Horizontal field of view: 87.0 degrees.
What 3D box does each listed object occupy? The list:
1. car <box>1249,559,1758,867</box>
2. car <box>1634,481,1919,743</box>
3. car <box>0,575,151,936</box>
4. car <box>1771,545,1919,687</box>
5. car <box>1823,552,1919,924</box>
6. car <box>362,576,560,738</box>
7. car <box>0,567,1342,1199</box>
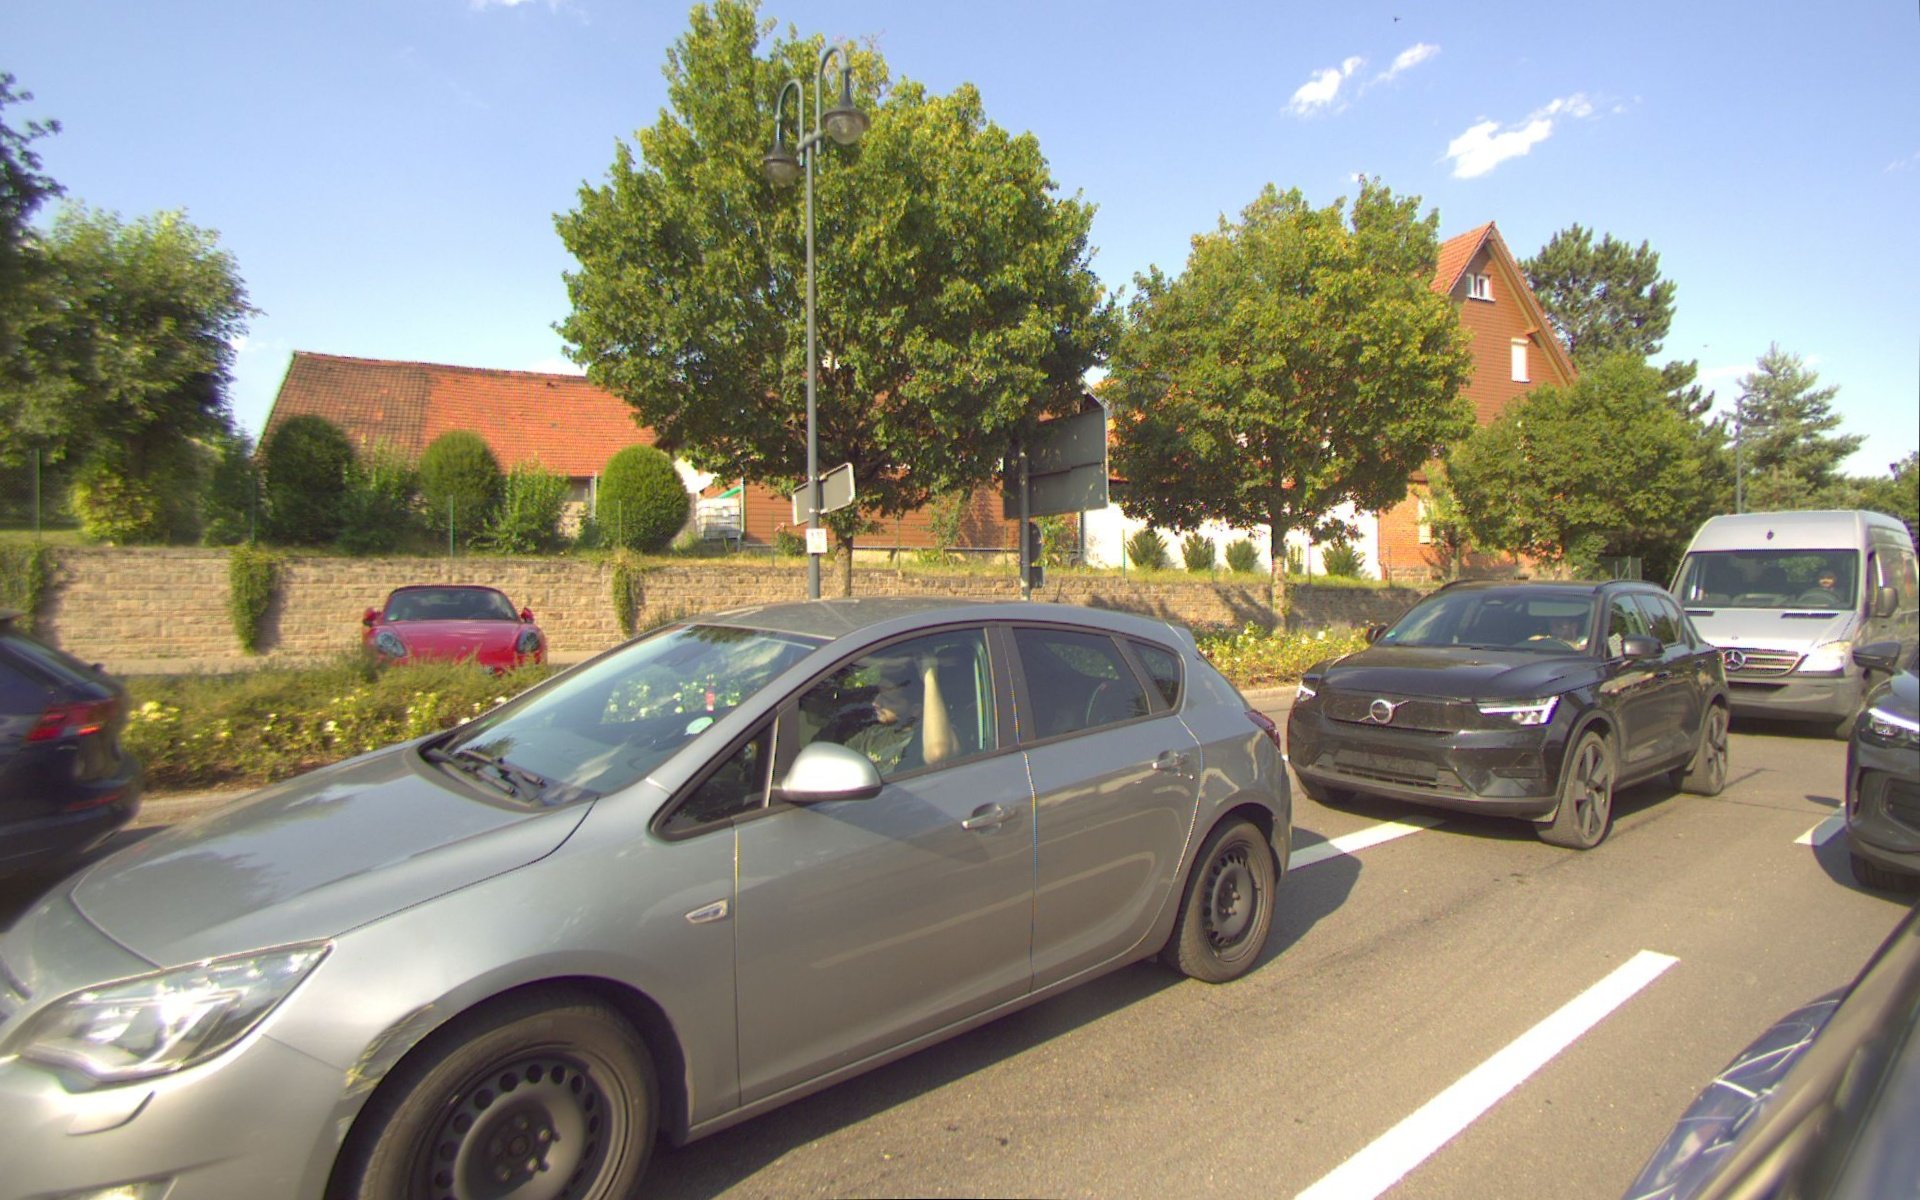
[{"bbox_3d":[4.158,0.566,7.443,4.242,1.629,1.844,0,2,-40],"label":"car"},{"bbox_3d":[10.658,0.082,12.750,5.938,2.601,1.992,0,1,-40],"label":"car"},{"bbox_3d":[-5.759,0.634,3.763,4.243,1.471,1.765,0,2,-41],"label":"car"},{"bbox_3d":[15.059,0.206,16.664,4.242,2.055,1.844,0,1,-40],"label":"car"},{"bbox_3d":[6.212,0.617,5.328,4.242,1.629,1.844,0,2,-40],"label":"car"},{"bbox_3d":[-5.899,0.524,11.704,1.743,1.510,4.156,0,0,-31],"label":"car"},{"bbox_3d":[-0.561,0.665,3.513,4.244,1.471,1.765,0,2,-42],"label":"car"}]
